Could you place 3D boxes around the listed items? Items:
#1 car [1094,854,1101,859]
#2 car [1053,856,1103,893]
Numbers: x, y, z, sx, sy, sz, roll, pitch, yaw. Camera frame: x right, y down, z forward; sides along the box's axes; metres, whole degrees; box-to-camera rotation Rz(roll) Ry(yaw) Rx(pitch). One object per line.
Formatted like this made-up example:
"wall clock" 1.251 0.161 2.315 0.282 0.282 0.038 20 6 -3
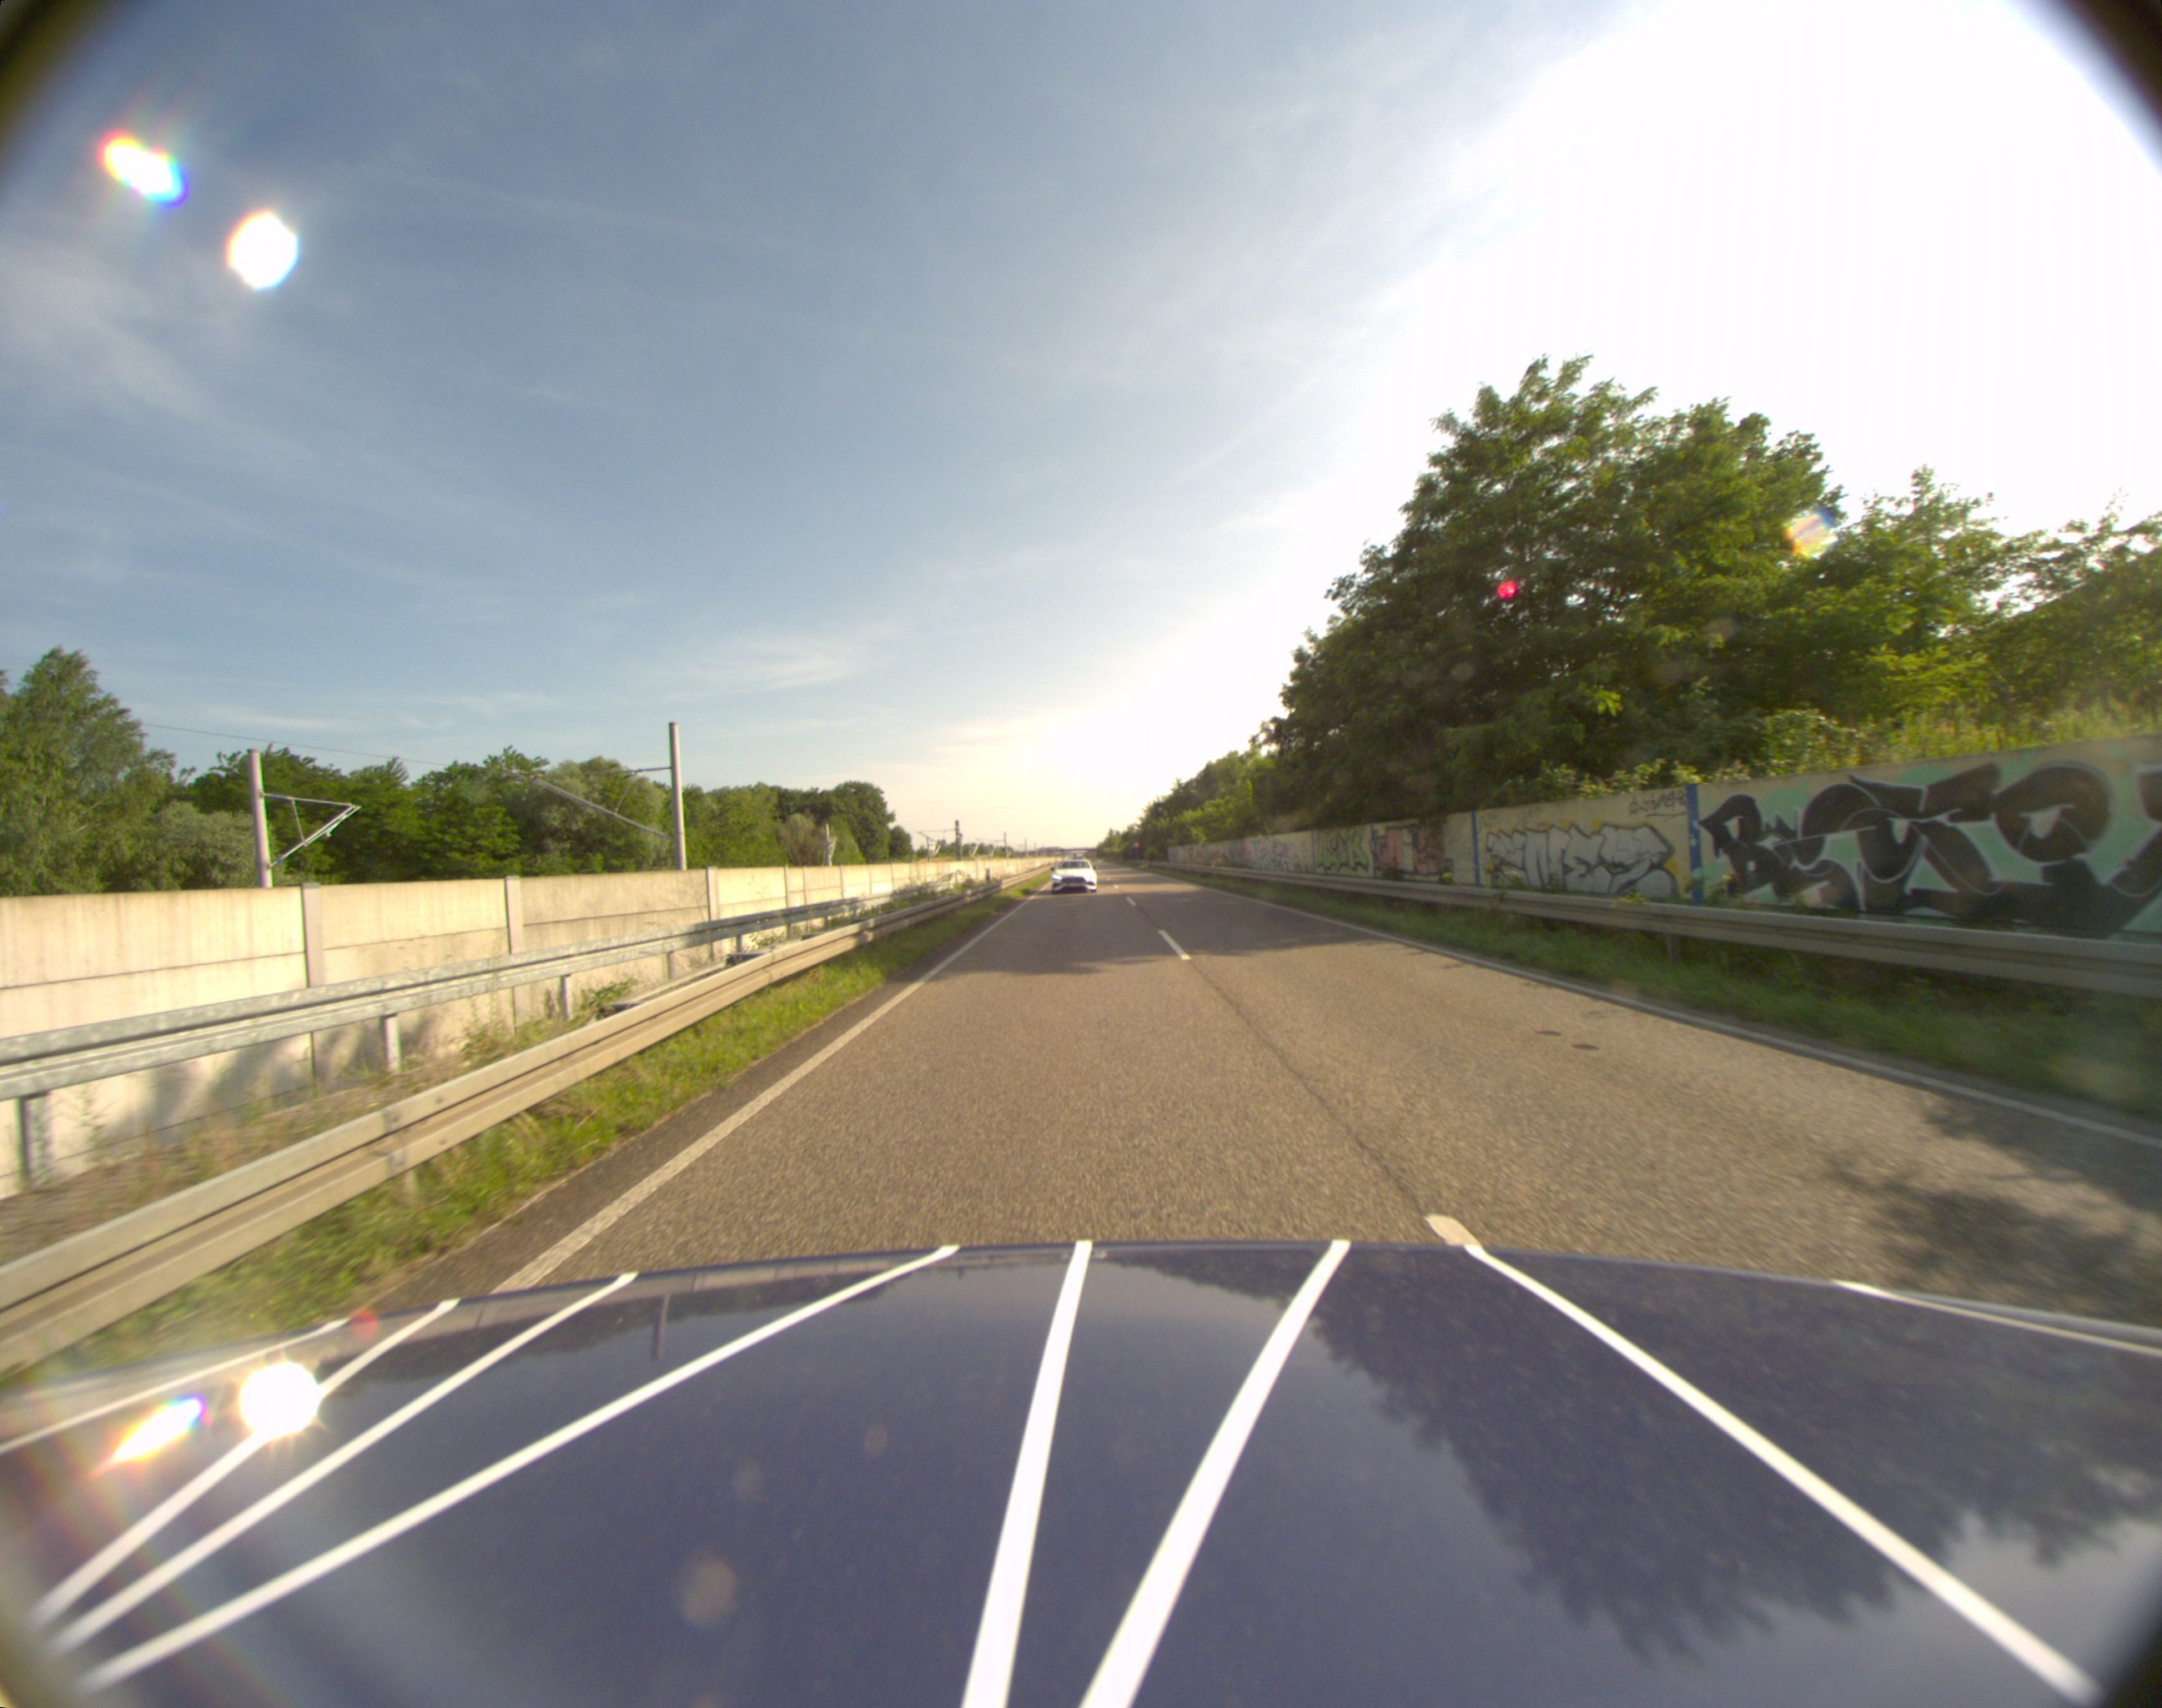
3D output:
"car" 4.371 0.642 205.747 1.724 1.386 4.360 -2 1 1
"car" -0.117 0.858 33.191 1.953 1.430 4.611 -2 0 0
